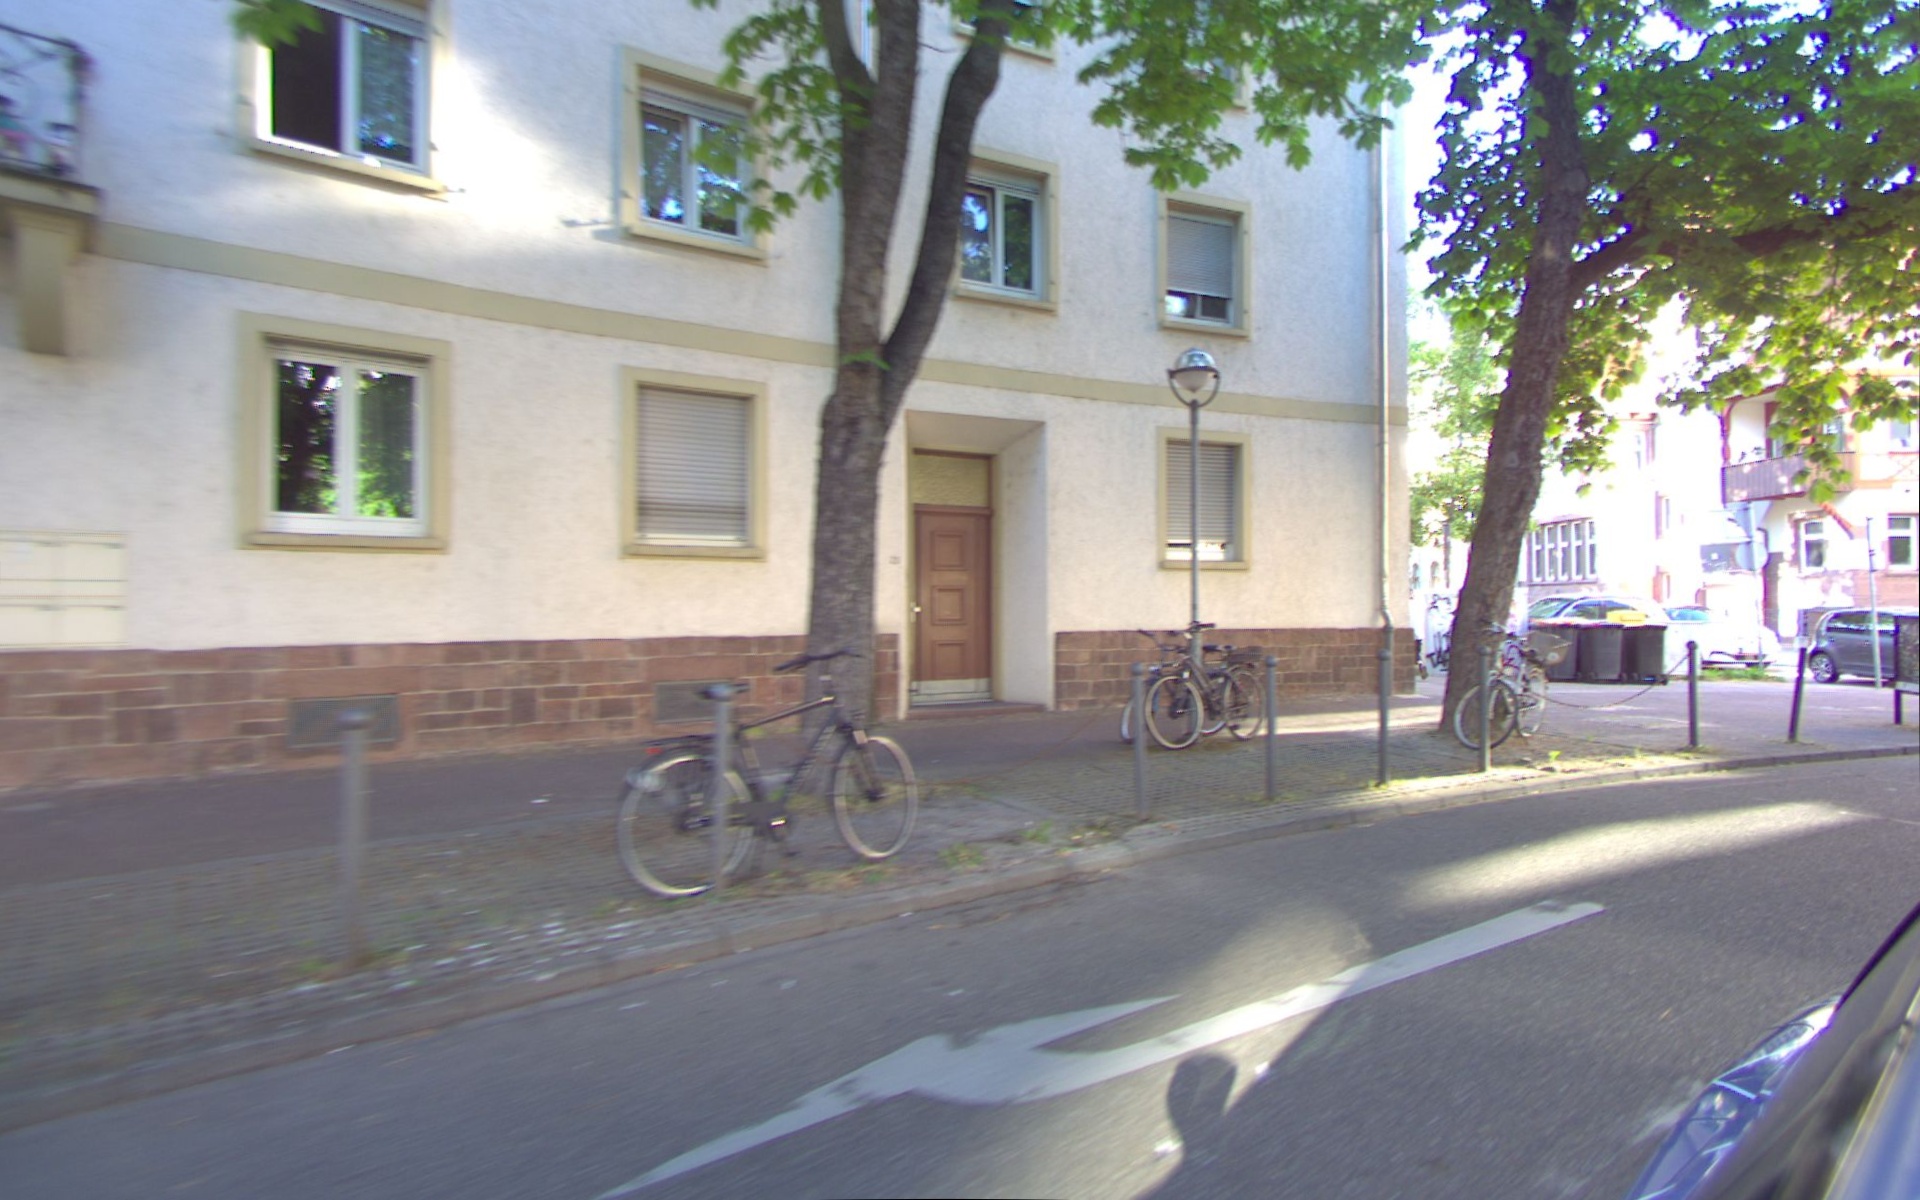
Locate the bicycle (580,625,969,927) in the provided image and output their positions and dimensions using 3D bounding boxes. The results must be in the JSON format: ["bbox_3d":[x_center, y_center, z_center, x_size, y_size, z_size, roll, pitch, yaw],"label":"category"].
[{"bbox_3d":[-0.891,0.773,5.224,1.881,1.238,0.718,0,0,-42],"label":"bicycle"}]

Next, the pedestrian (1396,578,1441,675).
[{"bbox_3d":[7.906,0.433,17.441,0.637,1.612,0.935,0,0,29],"label":"pedestrian"}]

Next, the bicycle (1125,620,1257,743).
[{"bbox_3d":[2.297,0.762,9.970,1.607,1.108,0.334,0,-1,-39],"label":"bicycle"}]

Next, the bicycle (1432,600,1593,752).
[{"bbox_3d":[5.380,0.670,9.800,1.870,1.321,0.767,0,-1,-41],"label":"bicycle"}]

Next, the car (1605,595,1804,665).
[{"bbox_3d":[18.258,0.699,25.096,1.771,1.572,4.186,0,-1,-1],"label":"car"}]

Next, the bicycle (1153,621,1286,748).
[{"bbox_3d":[2.510,0.764,9.693,1.607,1.108,0.334,0,-1,-39],"label":"bicycle"}]

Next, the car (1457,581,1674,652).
[{"bbox_3d":[13.152,0.349,22.115,3.729,1.443,1.677,-1,-1,-3],"label":"car"}]

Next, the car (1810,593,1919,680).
[{"bbox_3d":[18.072,0.656,18.450,1.664,1.572,4.052,0,-1,-1],"label":"car"}]
